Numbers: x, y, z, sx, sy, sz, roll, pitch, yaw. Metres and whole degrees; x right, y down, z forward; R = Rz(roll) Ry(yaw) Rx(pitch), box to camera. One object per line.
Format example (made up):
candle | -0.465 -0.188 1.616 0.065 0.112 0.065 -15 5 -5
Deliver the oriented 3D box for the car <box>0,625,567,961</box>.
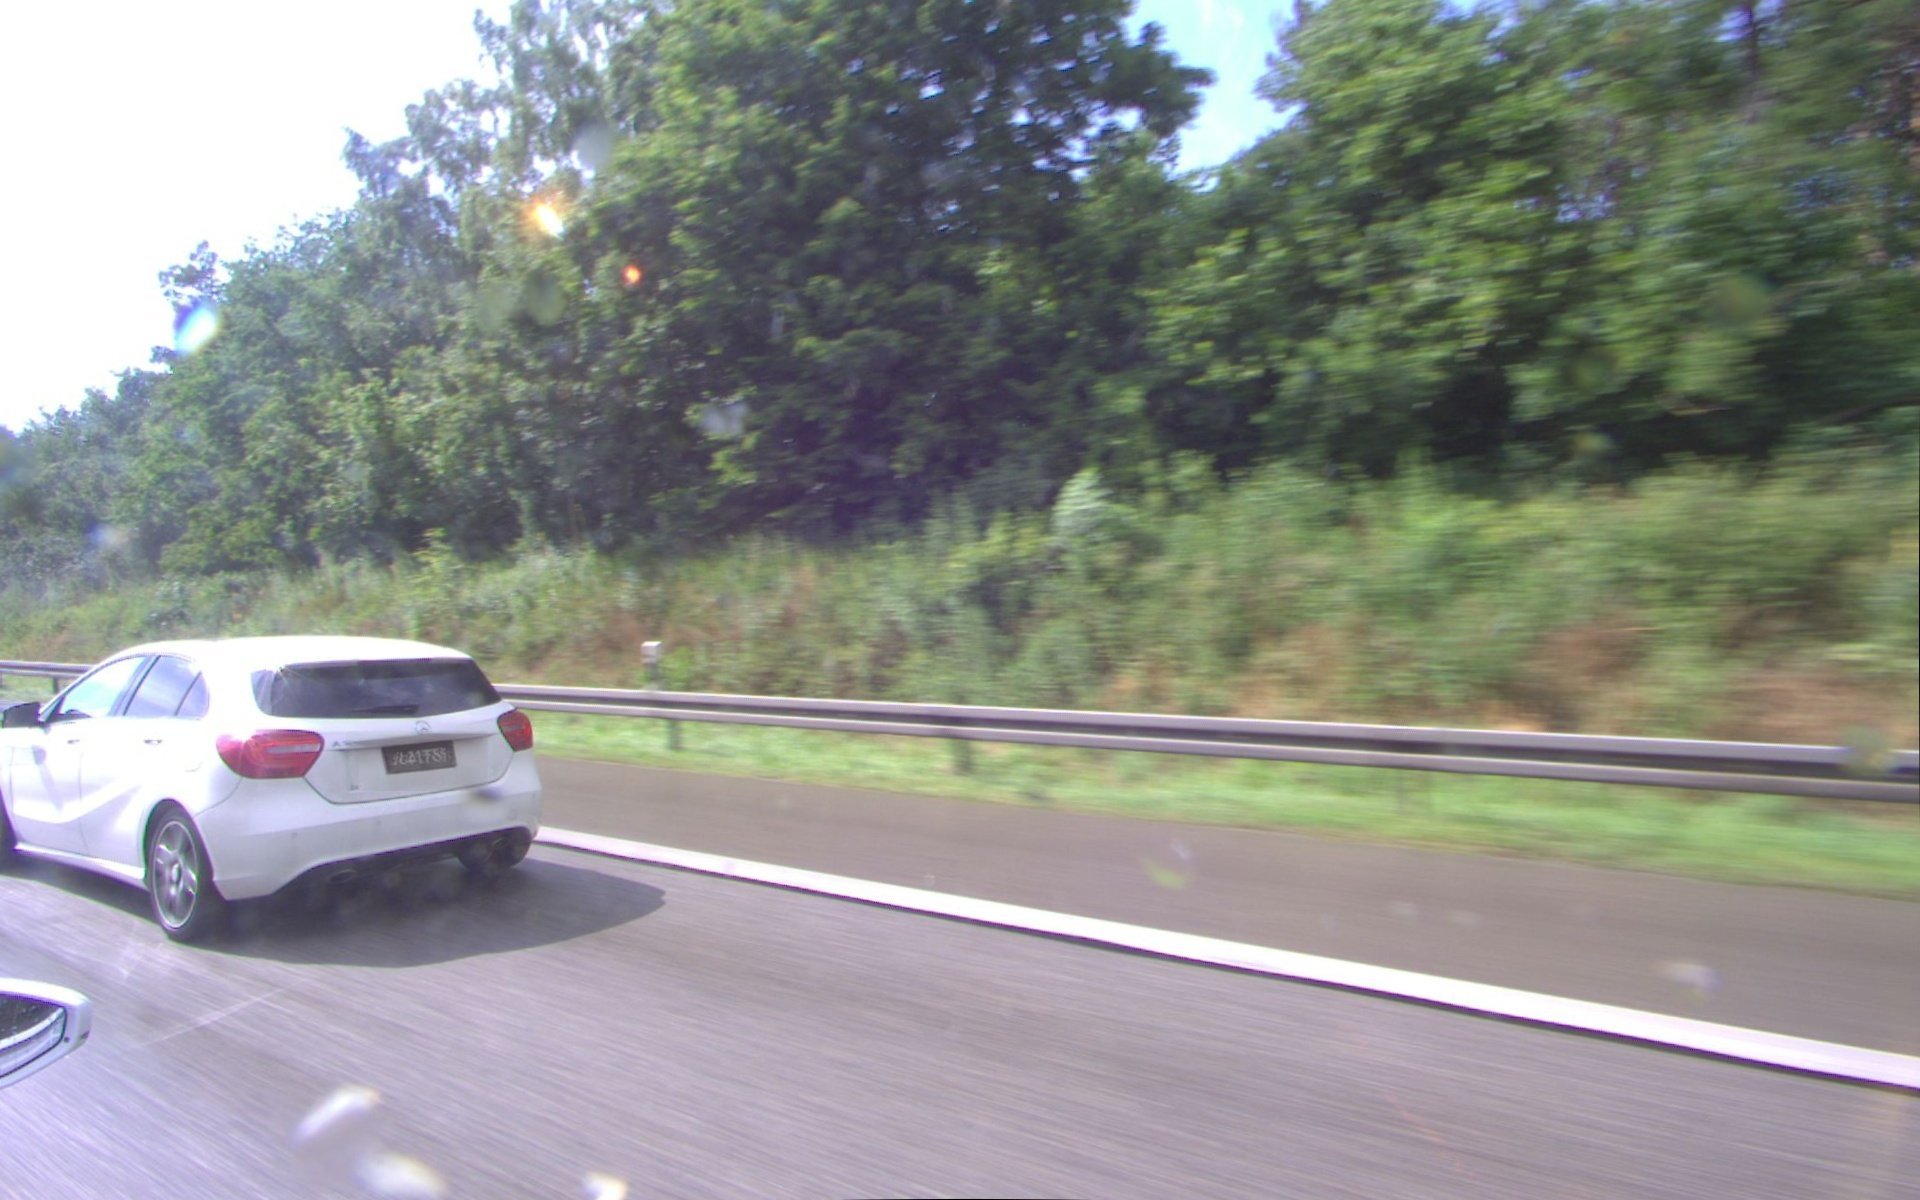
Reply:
car | -4.459 0.889 6.147 4.160 1.443 1.689 -1 -2 32
